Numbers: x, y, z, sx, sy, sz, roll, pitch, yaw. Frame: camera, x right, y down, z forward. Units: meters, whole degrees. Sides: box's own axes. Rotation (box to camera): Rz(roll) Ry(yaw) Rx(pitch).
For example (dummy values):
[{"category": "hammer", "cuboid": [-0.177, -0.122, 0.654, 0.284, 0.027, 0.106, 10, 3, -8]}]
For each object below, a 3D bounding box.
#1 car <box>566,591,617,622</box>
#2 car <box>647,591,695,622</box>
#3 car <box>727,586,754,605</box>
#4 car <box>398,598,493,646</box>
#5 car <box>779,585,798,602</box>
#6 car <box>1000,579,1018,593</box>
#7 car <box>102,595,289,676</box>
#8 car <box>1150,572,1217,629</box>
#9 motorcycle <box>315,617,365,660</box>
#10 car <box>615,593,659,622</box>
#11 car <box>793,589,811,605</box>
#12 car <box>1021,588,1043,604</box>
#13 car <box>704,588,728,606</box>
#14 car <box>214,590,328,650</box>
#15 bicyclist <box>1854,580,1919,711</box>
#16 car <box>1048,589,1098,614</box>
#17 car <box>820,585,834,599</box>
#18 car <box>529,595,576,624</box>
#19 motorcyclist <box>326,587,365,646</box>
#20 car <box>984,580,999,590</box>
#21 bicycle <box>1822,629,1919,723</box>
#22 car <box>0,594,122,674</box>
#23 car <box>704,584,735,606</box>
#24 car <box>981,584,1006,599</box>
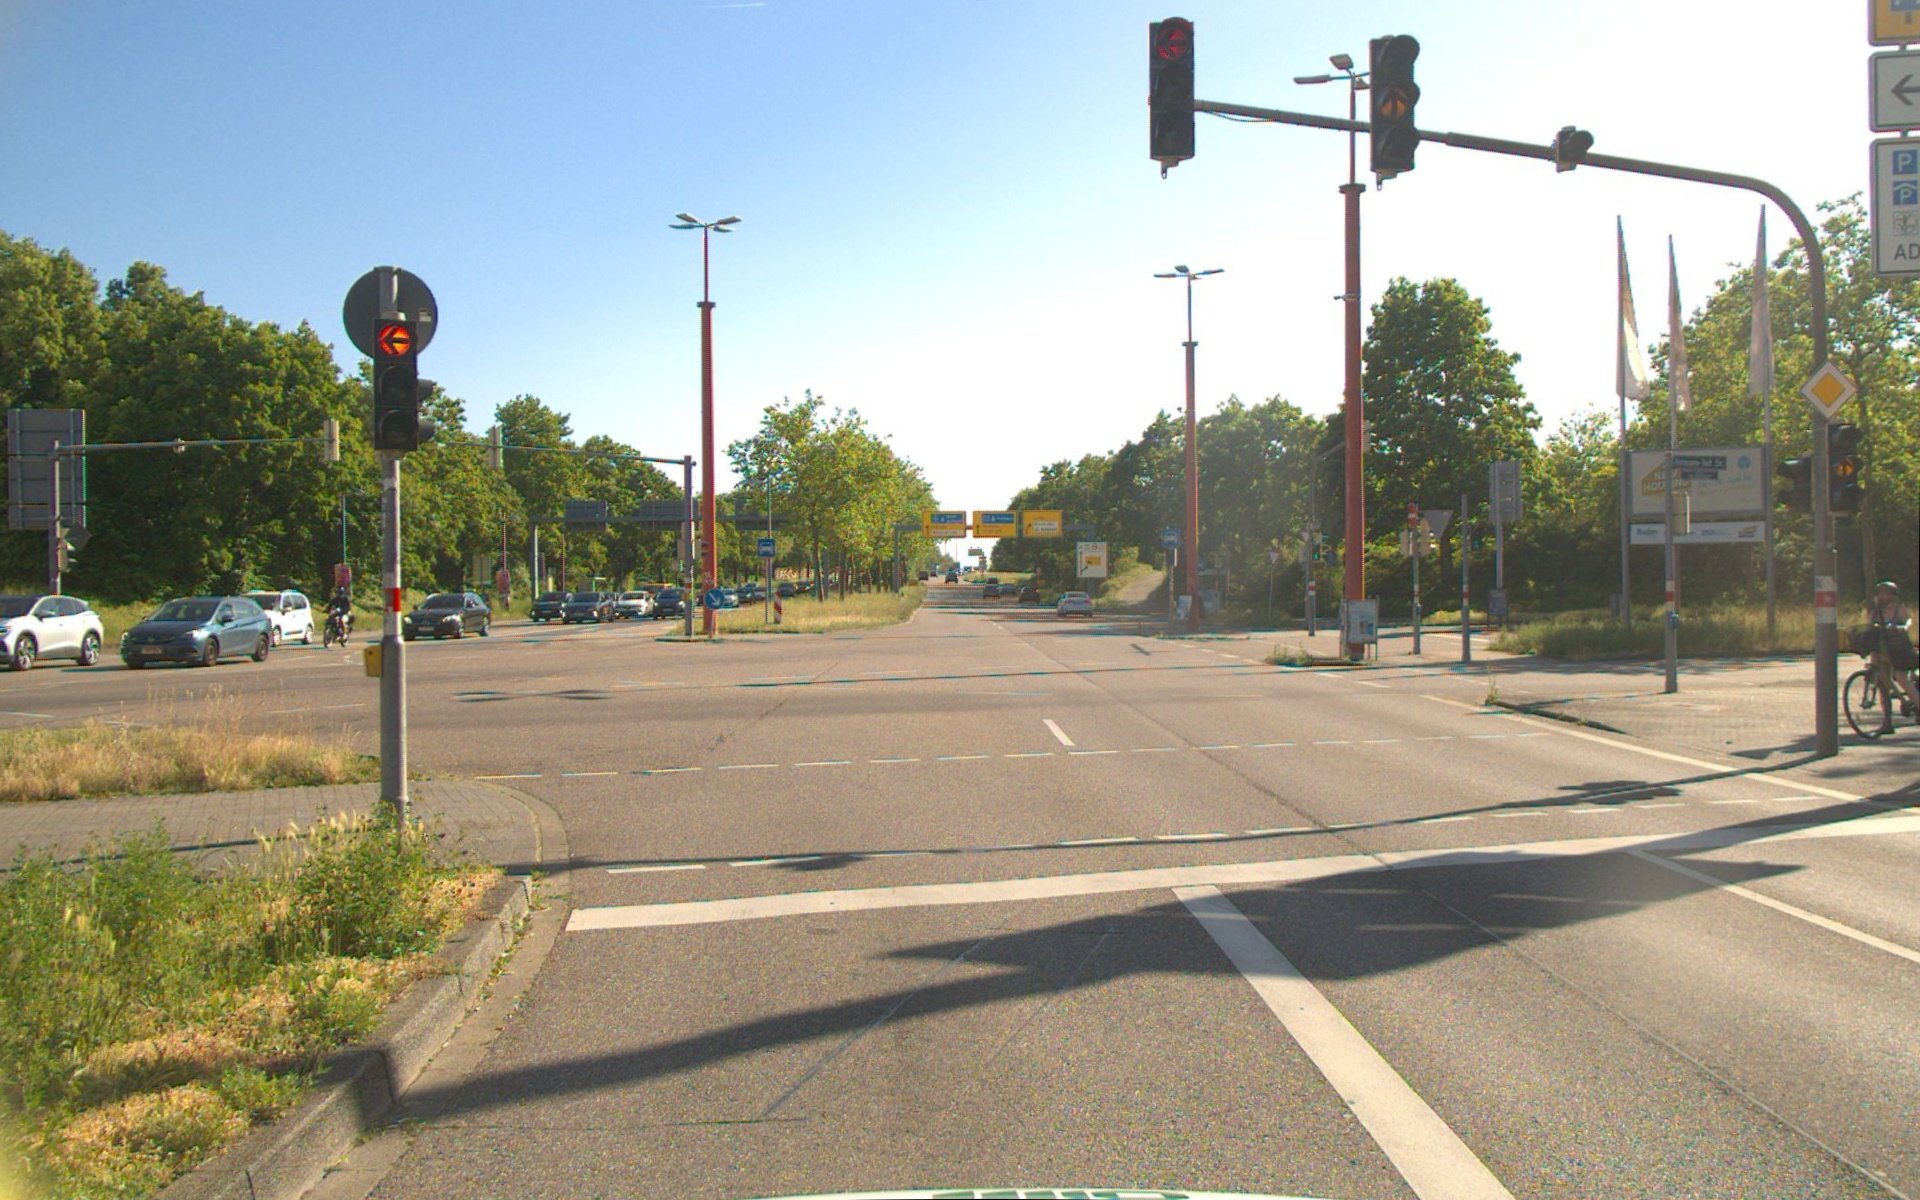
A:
[{"category": "car", "cuboid": [-17.338, 0.301, 77.889, 1.517, 1.401, 4.261, 0, 0, -1]}, {"category": "car", "cuboid": [-14.373, 0.328, 82.323, 1.666, 1.446, 3.999, 3, 0, 0]}, {"category": "car", "cuboid": [-18.343, -0.387, 138.289, 1.669, 1.586, 3.803, 0, 0, 0]}, {"category": "car", "cuboid": [-16.957, 0.704, 54.721, 1.838, 1.511, 4.603, 1, 0, -2]}, {"category": "car", "cuboid": [-18.134, -0.696, 175.119, 1.592, 1.769, 4.000, 0, 0, 0]}, {"category": "car", "cuboid": [5.666, -1.632, 192.081, 1.953, 1.567, 3.999, 1, 0, -1]}, {"category": "car", "cuboid": [-16.739, 0.729, 36.470, 1.952, 1.622, 4.464, -1, 0, 1]}, {"category": "car", "cuboid": [7.872, 0.013, 58.067, 1.951, 1.920, 4.003, 0, 0, 13]}, {"category": "motorcycle", "cuboid": [-17.330, 1.059, 46.278, 0.412, 1.151, 2.096, 0, 0, 6]}, {"category": "car", "cuboid": [-17.441, 0.389, 89.390, 1.572, 1.485, 3.950, -1, 0, 0]}, {"category": "car", "cuboid": [-18.597, -0.351, 194.630, 1.623, 1.778, 4.000, 0, 0, 0]}, {"category": "car", "cuboid": [6.356, -0.342, 146.310, 1.702, 1.365, 3.081, 0, 0, -1]}, {"category": "car", "cuboid": [-21.078, -0.236, 142.826, 1.595, 1.476, 3.433, 0, 0, -1]}, {"category": "car", "cuboid": [-20.894, 0.586, 50.343, 1.764, 1.737, 4.059, -1, 0, -1]}, {"category": "bicyclist", "cuboid": [10.127, 0.469, 17.725, 0.733, 1.365, 0.699, -1, 0, -34]}, {"category": "car", "cuboid": [6.386, 0.061, 94.095, 2.015, 1.395, 4.385, 0, 0, -7]}, {"category": "car", "cuboid": [-17.030, -0.955, 211.815, 1.575, 1.761, 3.789, 0, 0, 0]}, {"category": "car", "cuboid": [-21.839, 0.508, 88.741, 1.513, 1.458, 3.885, -2, 0, 0]}, {"category": "motorcyclist", "cuboid": [-17.277, 0.455, 46.517, 0.817, 1.627, 0.641, 0, 0, 6]}, {"category": "car", "cuboid": [4.695, -2.195, 242.920, 1.951, 1.567, 4.002, 0, 0, 4]}, {"category": "bicycle", "cuboid": [10.039, 0.790, 17.697, 2.144, 0.894, 0.553, -1, 0, -36]}, {"category": "car", "cuboid": [-20.452, 0.712, 36.287, 1.800, 1.629, 4.438, -1, 0, 1]}, {"category": "car", "cuboid": [-18.295, -0.361, 125.930, 1.669, 1.624, 4.000, 1, 0, 0]}, {"category": "car", "cuboid": [3.393, -0.860, 168.483, 1.955, 1.523, 3.995, 0, 0, -6]}]
